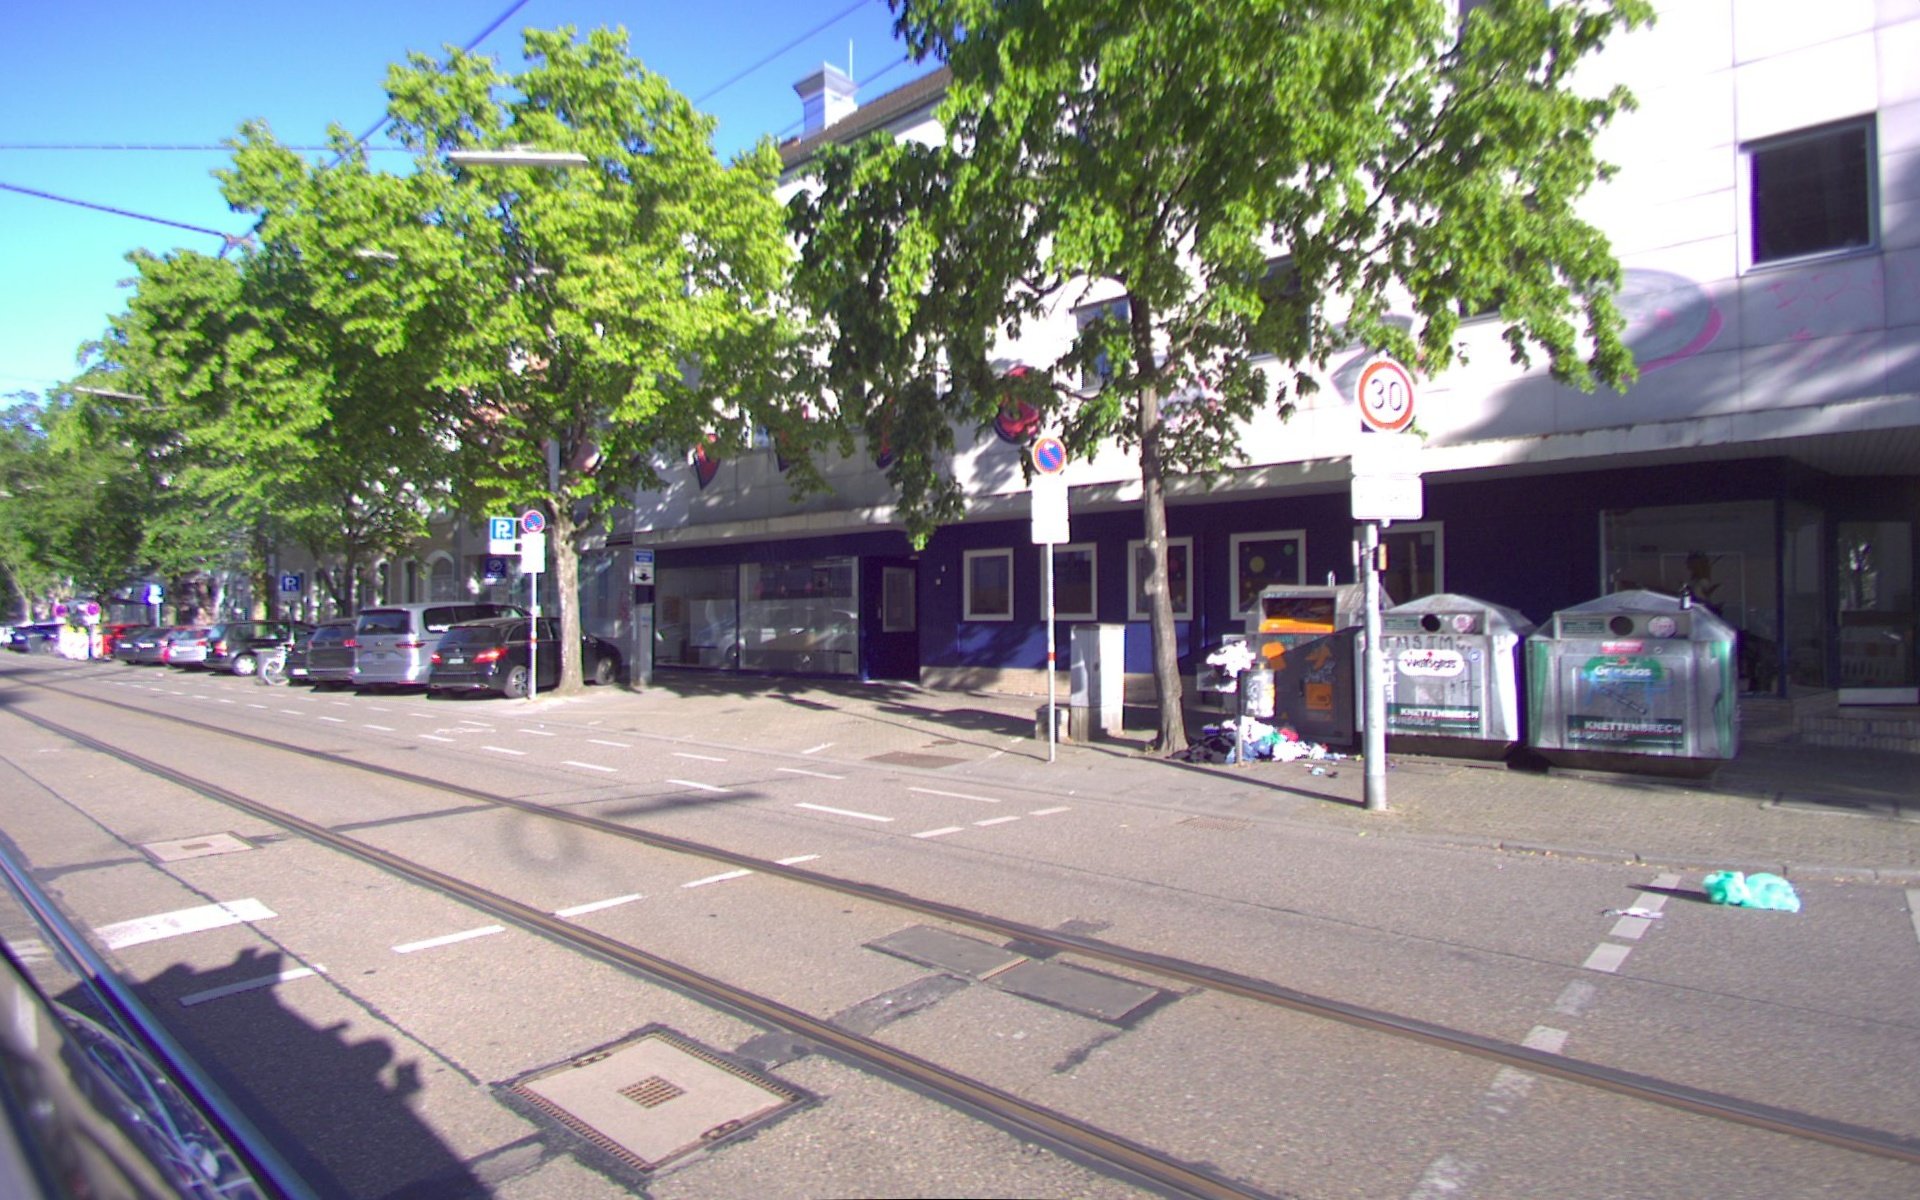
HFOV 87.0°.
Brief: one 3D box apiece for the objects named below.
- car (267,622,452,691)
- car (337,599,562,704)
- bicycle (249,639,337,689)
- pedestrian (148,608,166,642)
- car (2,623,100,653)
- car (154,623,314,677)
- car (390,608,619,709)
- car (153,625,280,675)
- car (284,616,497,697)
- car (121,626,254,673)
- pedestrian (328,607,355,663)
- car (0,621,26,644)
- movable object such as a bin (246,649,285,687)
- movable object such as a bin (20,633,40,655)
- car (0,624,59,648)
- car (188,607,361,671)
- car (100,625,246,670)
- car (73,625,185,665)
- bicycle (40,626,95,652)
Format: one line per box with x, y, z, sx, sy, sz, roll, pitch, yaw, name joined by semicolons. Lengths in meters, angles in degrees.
-15.307;1.388;26.031;1.829;1.487;3.845;-1;1;18;car
-11.129;1.036;22.450;1.934;2.001;4.341;-1;1;19;car
-17.200;1.633;26.164;0.489;1.153;1.957;-1;0;22;bicycle
-44.297;1.376;55.812;0.624;1.852;0.636;-2;-2;42;pedestrian
-51.605;2.123;57.556;1.561;1.621;3.878;-1;-1;19;car
-23.937;1.618;33.560;1.823;1.524;4.099;-2;0;14;car
-9.048;1.090;20.550;1.895;1.679;4.274;-1;1;17;car
-26.017;1.724;35.551;1.597;1.504;3.360;-2;0;13;car
-13.118;1.237;23.622;1.797;1.698;4.221;-1;-1;20;car
-28.386;1.784;37.323;1.735;1.481;3.670;-1;1;12;car
-22.797;1.290;37.297;0.556;2.029;0.723;-2;-2;42;pedestrian
-72.103;2.431;75.005;1.690;1.689;3.973;-1;-1;20;car
-17.790;1.742;25.927;0.572;0.920;0.572;-2;0;25;movable object such as a bin
-48.151;2.256;52.385;0.709;1.086;0.676;-2;1;42;movable object such as a bin
-63.183;2.396;67.930;1.873;1.541;3.622;-1;-1;21;car
-21.250;1.151;31.493;1.839;1.690;4.065;-1;1;38;car
-30.273;1.787;39.089;1.924;1.502;4.184;-1;0;14;car
-37.318;2.007;45.567;1.653;1.565;3.608;-3;0;15;car
-44.837;1.950;50.845;0.567;1.095;1.981;-2;3;43;bicycle
